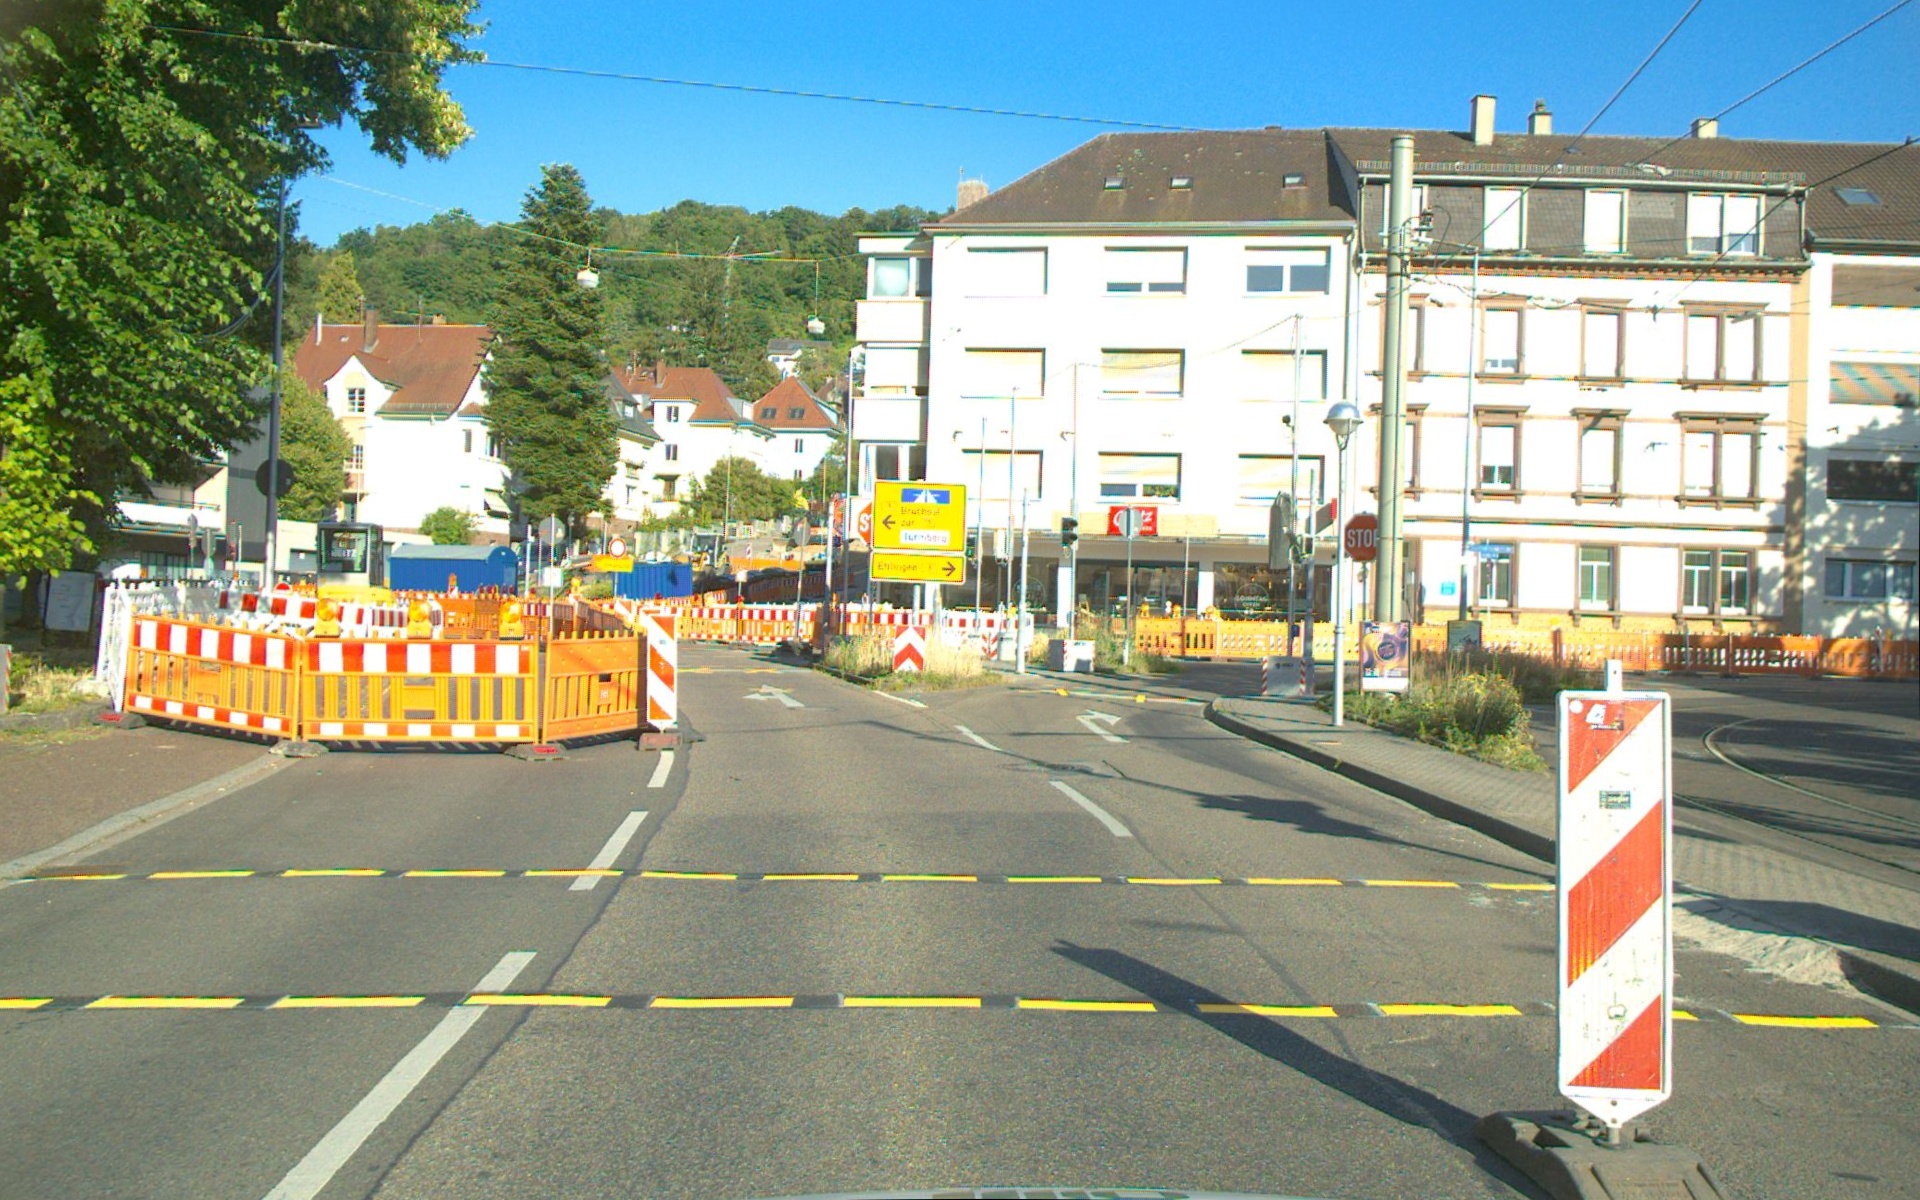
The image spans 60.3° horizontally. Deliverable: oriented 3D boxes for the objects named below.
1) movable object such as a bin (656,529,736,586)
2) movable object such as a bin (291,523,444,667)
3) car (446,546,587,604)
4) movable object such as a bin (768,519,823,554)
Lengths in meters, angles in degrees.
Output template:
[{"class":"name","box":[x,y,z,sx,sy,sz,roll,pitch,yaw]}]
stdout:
[{"class":"movable object such as a bin","box":[-12.528,-2.001,78.802,1.907,2.538,4.554,1,0,17]},{"class":"movable object such as a bin","box":[-10.422,-0.091,29.356,1.615,2.365,3.916,1,0,-6]},{"class":"car","box":[-17.569,-0.940,65.918,2.529,2.158,6.154,1,0,17]},{"class":"movable object such as a bin","box":[-11.368,-4.388,114.753,2.510,2.159,5.789,1,0,8]}]
